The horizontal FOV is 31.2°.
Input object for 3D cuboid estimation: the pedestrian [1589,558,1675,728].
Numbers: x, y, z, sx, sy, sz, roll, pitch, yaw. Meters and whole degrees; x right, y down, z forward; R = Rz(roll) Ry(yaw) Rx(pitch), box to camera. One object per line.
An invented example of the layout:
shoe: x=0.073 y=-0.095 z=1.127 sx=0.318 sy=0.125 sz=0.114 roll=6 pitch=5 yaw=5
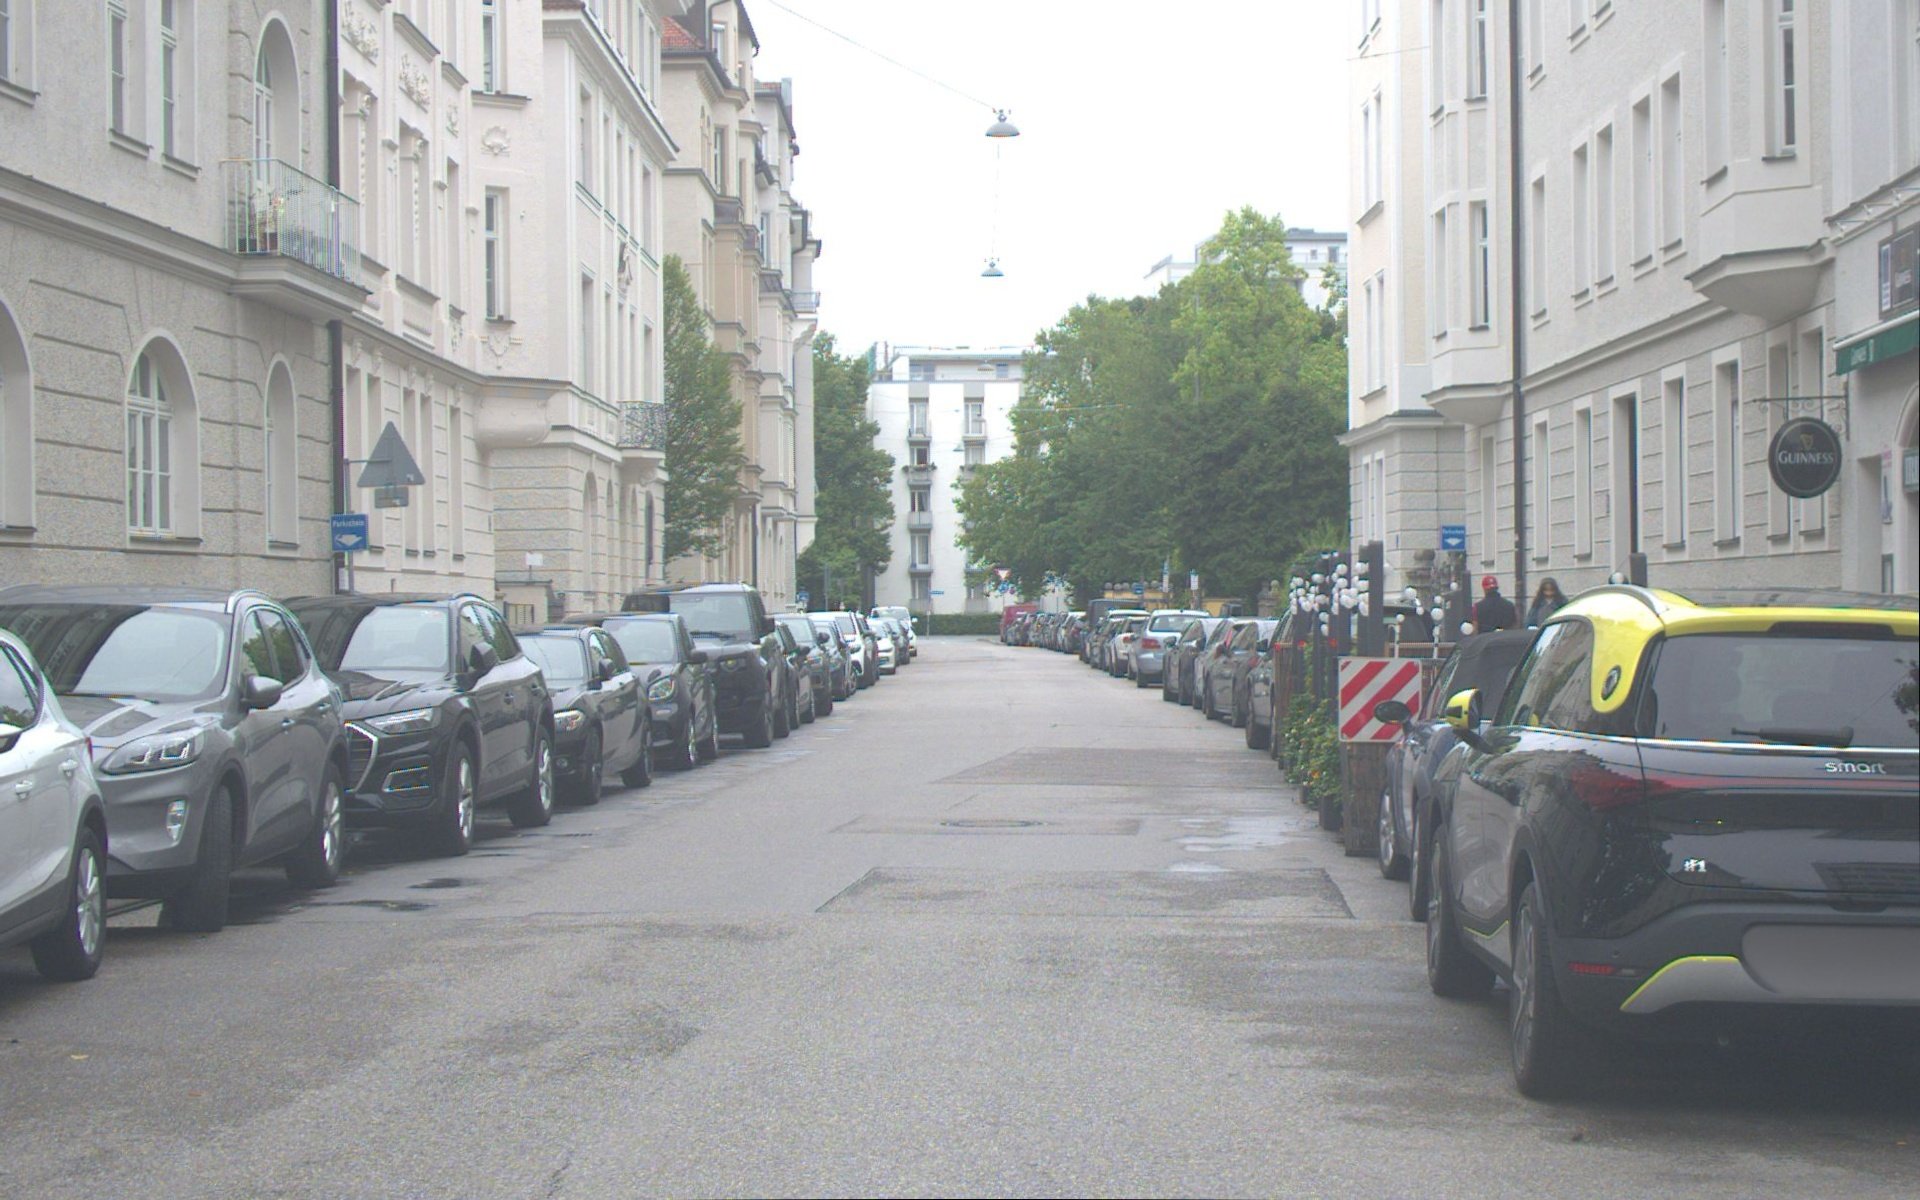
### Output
pedestrian: x=7.416 y=0.466 z=37.974 sx=0.778 sy=1.845 sz=1.023 roll=0 pitch=0 yaw=3

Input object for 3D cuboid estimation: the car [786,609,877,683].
car: x=-2.534 y=0.895 z=68.727 sx=1.733 sy=1.415 sz=4.000 roll=0 pitch=0 yaw=-1

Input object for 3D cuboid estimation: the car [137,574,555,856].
car: x=-3.913 y=0.679 z=22.638 sx=1.993 sy=1.670 sz=4.289 roll=0 pitch=0 yaw=0

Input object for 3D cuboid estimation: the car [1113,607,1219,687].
car: x=4.188 y=0.936 z=70.338 sx=1.906 sy=1.571 sz=4.000 roll=0 pitch=0 yaw=0

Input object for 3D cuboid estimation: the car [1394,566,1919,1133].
car: x=2.677 y=0.738 z=12.246 sx=1.820 sy=1.630 sz=4.288 roll=2 pitch=0 yaw=2

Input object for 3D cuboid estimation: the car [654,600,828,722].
car: x=-2.729 y=0.736 z=43.604 sx=1.734 sy=1.459 sz=4.000 roll=0 pitch=0 yaw=3

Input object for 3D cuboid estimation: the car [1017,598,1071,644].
car: x=3.323 y=0.832 z=136.478 sx=1.993 sy=1.783 sz=4.065 roll=0 pitch=0 yaw=-1

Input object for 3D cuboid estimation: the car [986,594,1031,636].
car: x=2.311 y=0.699 z=165.575 sx=1.993 sy=1.975 sz=4.893 roll=0 pitch=0 yaw=-1

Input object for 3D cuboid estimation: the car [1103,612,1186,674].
car: x=4.330 y=0.999 z=81.067 sx=1.730 sy=1.413 sz=3.852 roll=0 pitch=0 yaw=0

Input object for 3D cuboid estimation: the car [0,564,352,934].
car: x=-4.422 y=0.672 z=17.580 sx=1.993 sy=1.670 sz=4.012 roll=0 pitch=0 yaw=-1

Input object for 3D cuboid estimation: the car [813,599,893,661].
car: x=-2.770 y=0.766 z=89.894 sx=1.993 sy=1.568 sz=4.000 roll=0 pitch=0 yaw=-1

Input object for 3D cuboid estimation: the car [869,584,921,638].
car: x=-2.422 y=0.410 z=129.085 sx=1.846 sy=2.007 sz=4.000 roll=0 pitch=0 yaw=0

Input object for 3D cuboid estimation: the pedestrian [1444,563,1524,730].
pedestrian: x=5.867 y=0.508 z=38.537 sx=0.778 sy=1.845 sz=1.023 roll=0 pitch=0 yaw=3

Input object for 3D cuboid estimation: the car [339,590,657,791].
car: x=-3.762 y=0.694 z=28.686 sx=1.926 sy=1.541 sz=4.000 roll=0 pitch=0 yaw=3

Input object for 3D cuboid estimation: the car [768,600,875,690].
car: x=-2.494 y=0.798 z=62.765 sx=1.820 sy=1.568 sz=4.000 roll=0 pitch=0 yaw=-1

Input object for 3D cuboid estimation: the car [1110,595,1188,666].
car: x=5.418 y=0.866 z=99.110 sx=1.993 sy=1.975 sz=4.893 roll=0 pitch=0 yaw=0

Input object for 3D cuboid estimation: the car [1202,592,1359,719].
car: x=4.421 y=0.737 z=47.954 sx=1.994 sy=1.687 sz=4.171 roll=0 pitch=0 yaw=3

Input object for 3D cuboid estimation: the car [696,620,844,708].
car: x=-2.784 y=0.931 z=51.189 sx=1.906 sy=1.218 sz=4.000 roll=0 pitch=0 yaw=1

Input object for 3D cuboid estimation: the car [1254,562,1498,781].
car: x=3.729 y=0.597 z=31.467 sx=1.994 sy=1.850 sz=4.344 roll=0 pitch=0 yaw=4

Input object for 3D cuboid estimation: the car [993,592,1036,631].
car: x=2.795 y=0.600 z=177.413 sx=1.993 sy=1.975 sz=4.893 roll=0 pitch=0 yaw=-1

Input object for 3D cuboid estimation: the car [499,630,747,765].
car: x=-3.315 y=0.937 z=34.492 sx=1.906 sy=1.218 sz=4.000 roll=0 pitch=0 yaw=3

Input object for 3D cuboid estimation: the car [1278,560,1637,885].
car: x=3.136 y=0.717 z=22.467 sx=1.820 sy=1.864 sz=4.288 roll=2 pitch=0 yaw=2

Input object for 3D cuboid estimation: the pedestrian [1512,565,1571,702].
pedestrian: x=7.916 y=0.455 z=46.831 sx=0.778 sy=1.845 sz=0.859 roll=0 pitch=0 yaw=10

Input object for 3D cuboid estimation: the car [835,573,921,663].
car: x=-1.857 y=0.389 z=79.093 sx=1.846 sy=2.007 sz=4.000 roll=0 pitch=0 yaw=0

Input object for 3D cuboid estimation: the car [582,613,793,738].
car: x=-3.067 y=0.835 z=39.424 sx=1.906 sy=1.324 sz=4.000 roll=0 pitch=0 yaw=3

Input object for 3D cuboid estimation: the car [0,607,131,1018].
car: x=-4.481 y=0.775 z=12.784 sx=1.993 sy=1.468 sz=4.219 roll=0 pitch=0 yaw=-3

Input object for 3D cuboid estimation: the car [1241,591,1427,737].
car: x=4.489 y=0.734 z=41.819 sx=1.994 sy=1.687 sz=4.171 roll=0 pitch=0 yaw=3

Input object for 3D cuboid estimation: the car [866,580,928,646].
car: x=-1.952 y=0.393 z=107.816 sx=1.846 sy=2.007 sz=4.000 roll=0 pitch=0 yaw=0

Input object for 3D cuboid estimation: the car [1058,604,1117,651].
car: x=4.666 y=1.000 z=126.072 sx=1.950 sy=1.646 sz=4.000 roll=-2 pitch=0 yaw=0

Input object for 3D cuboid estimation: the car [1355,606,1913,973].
car: x=3.161 y=0.814 z=17.092 sx=1.976 sy=1.493 sz=4.637 roll=2 pitch=0 yaw=2

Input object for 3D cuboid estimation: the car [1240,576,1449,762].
car: x=3.960 y=0.673 z=35.986 sx=1.820 sy=1.781 sz=4.183 roll=2 pitch=0 yaw=2

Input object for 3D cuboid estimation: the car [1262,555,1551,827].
car: x=3.432 y=0.656 z=27.111 sx=1.820 sy=1.917 sz=4.183 roll=2 pitch=0 yaw=2
